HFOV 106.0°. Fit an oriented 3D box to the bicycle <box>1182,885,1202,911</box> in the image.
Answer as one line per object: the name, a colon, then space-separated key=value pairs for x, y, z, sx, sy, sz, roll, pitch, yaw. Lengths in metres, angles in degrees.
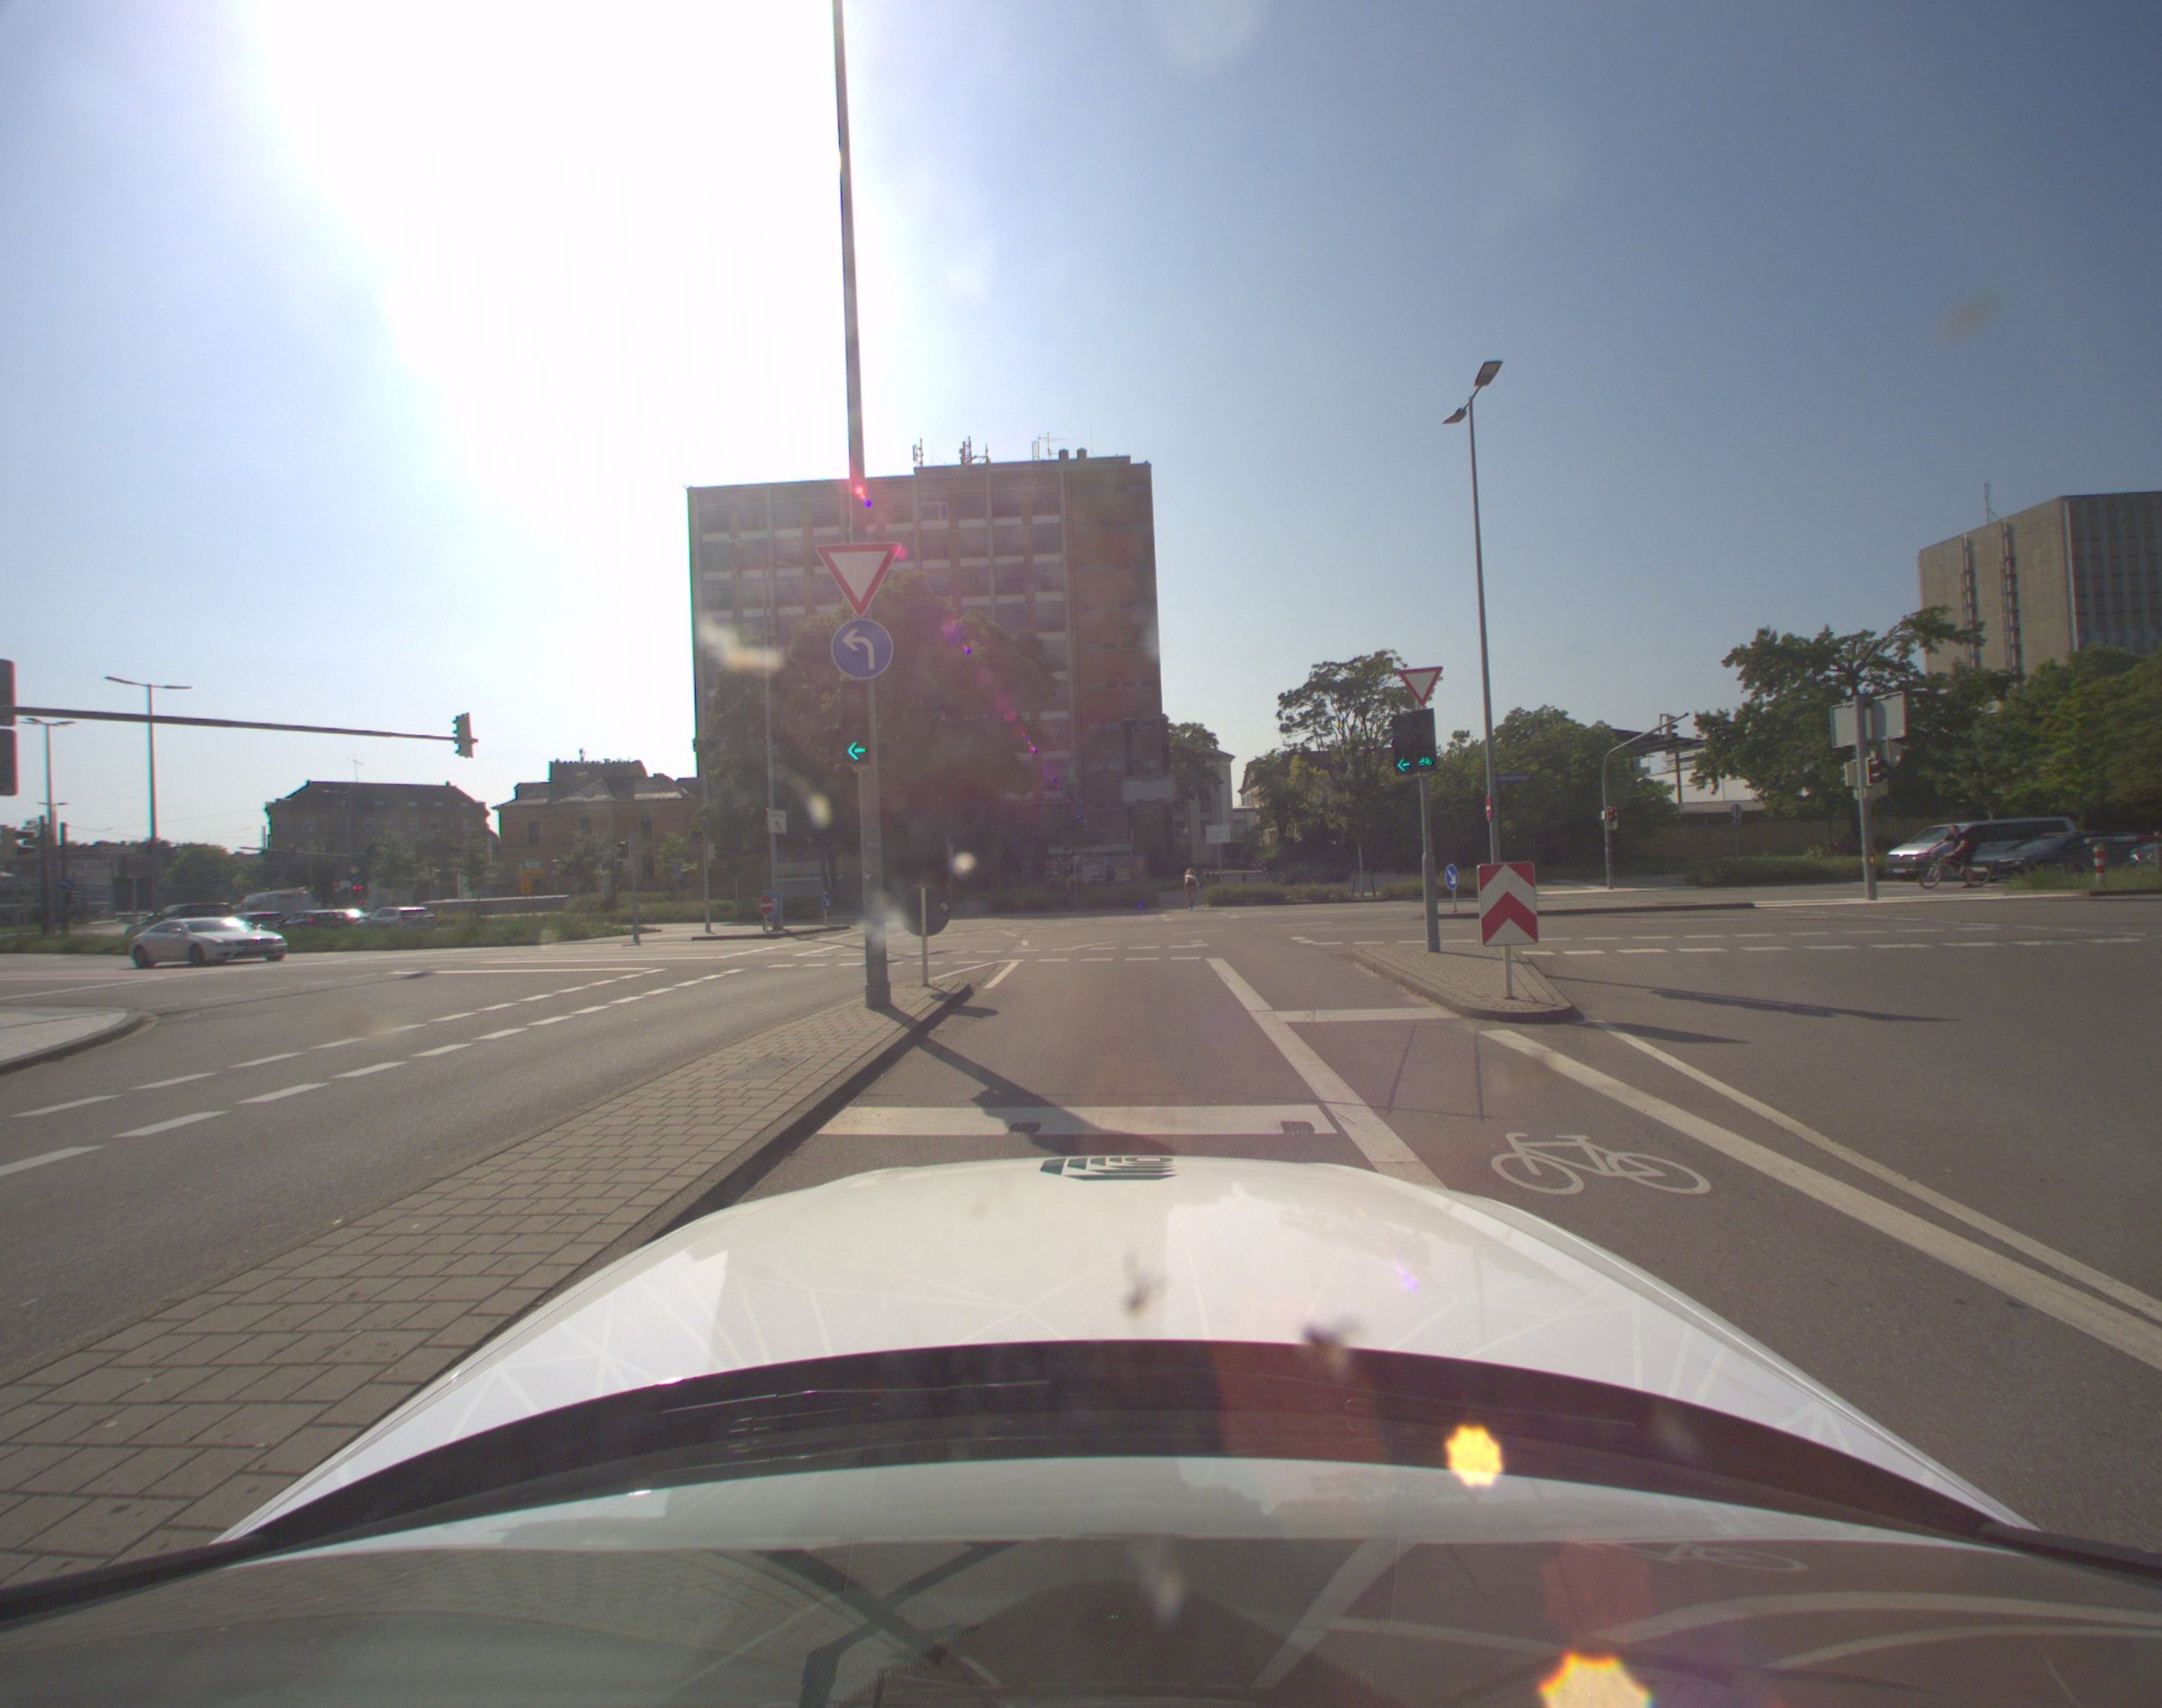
bicycle: x=4.236 y=1.660 z=31.015 sx=0.669 sy=0.879 sz=1.405 roll=-3 pitch=-1 yaw=11

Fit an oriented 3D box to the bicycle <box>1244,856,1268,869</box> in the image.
bicycle: x=18.451 y=0.895 z=85.900 sx=2.414 sy=1.234 sz=0.721 roll=-1 pitch=-1 yaw=7

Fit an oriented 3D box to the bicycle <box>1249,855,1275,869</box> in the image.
bicycle: x=17.552 y=0.800 z=79.052 sx=2.414 sy=1.318 sz=0.721 roll=-1 pitch=-1 yaw=7

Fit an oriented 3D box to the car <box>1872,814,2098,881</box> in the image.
car: x=29.910 y=-0.191 z=27.111 sx=4.927 sy=1.875 sz=1.852 roll=-3 pitch=-1 yaw=9

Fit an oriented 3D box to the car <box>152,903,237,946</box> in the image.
car: x=-46.861 y=3.736 z=43.040 sx=4.623 sy=2.008 sz=2.043 roll=-4 pitch=-2 yaw=30

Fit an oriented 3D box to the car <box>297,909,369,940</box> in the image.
car: x=-38.945 y=3.657 z=42.398 sx=3.892 sy=1.403 sz=1.503 roll=-4 pitch=-2 yaw=28

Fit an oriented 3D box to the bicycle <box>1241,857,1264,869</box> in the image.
bicycle: x=18.797 y=0.955 z=89.370 sx=2.414 sy=1.282 sz=0.721 roll=-1 pitch=-1 yaw=7

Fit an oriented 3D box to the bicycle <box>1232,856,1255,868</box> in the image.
bicycle: x=18.064 y=0.877 z=90.690 sx=2.414 sy=1.282 sz=0.721 roll=-1 pitch=-1 yaw=7

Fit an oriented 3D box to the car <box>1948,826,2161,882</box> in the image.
car: x=29.452 y=-0.012 z=24.185 sx=4.875 sy=1.401 sz=1.916 roll=-3 pitch=-1 yaw=9

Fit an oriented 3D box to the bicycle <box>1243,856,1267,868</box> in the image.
bicycle: x=18.752 y=0.875 z=87.786 sx=2.414 sy=1.229 sz=0.721 roll=-1 pitch=-1 yaw=7

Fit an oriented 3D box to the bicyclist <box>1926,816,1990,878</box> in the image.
bicyclist: x=24.347 y=-0.183 z=22.618 sx=0.868 sy=1.635 sz=0.750 roll=-3 pitch=-1 yaw=7

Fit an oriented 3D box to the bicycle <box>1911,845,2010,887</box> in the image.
bicycle: x=24.392 y=0.333 z=22.609 sx=1.760 sy=1.052 sz=0.772 roll=-3 pitch=-1 yaw=7

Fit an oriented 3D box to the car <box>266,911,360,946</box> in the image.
car: x=-34.901 y=3.375 z=37.014 sx=3.915 sy=1.368 sz=1.716 roll=-4 pitch=-2 yaw=24

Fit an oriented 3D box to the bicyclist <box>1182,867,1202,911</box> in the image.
bicyclist: x=4.239 y=1.328 z=31.130 sx=0.646 sy=1.601 sz=0.922 roll=-3 pitch=-1 yaw=10

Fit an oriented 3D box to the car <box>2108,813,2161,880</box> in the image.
car: x=27.952 y=-0.290 z=19.100 sx=4.669 sy=1.579 sz=1.859 roll=-3 pitch=-3 yaw=10

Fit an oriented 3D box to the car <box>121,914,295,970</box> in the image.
car: x=-26.105 y=2.578 z=24.361 sx=4.762 sy=1.362 sz=1.857 roll=-1 pitch=-1 yaw=21

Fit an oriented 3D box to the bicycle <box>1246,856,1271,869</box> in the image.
bicycle: x=18.031 y=0.858 z=82.707 sx=2.414 sy=1.223 sz=0.721 roll=-1 pitch=-1 yaw=7

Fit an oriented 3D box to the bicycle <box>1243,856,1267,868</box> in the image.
bicycle: x=18.496 y=0.889 z=86.755 sx=2.414 sy=1.239 sz=0.721 roll=-1 pitch=-1 yaw=7

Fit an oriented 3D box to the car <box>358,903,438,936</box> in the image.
car: x=-33.010 y=3.156 z=39.349 sx=3.588 sy=1.387 sz=1.700 roll=-4 pitch=-2 yaw=28

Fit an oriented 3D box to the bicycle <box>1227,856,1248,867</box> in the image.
bicycle: x=18.934 y=0.959 z=98.416 sx=2.414 sy=1.280 sz=0.721 roll=-1 pitch=-1 yaw=7

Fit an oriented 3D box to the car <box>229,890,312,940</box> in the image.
car: x=-46.490 y=3.496 z=46.685 sx=4.623 sy=2.549 sz=2.209 roll=-4 pitch=-2 yaw=30
